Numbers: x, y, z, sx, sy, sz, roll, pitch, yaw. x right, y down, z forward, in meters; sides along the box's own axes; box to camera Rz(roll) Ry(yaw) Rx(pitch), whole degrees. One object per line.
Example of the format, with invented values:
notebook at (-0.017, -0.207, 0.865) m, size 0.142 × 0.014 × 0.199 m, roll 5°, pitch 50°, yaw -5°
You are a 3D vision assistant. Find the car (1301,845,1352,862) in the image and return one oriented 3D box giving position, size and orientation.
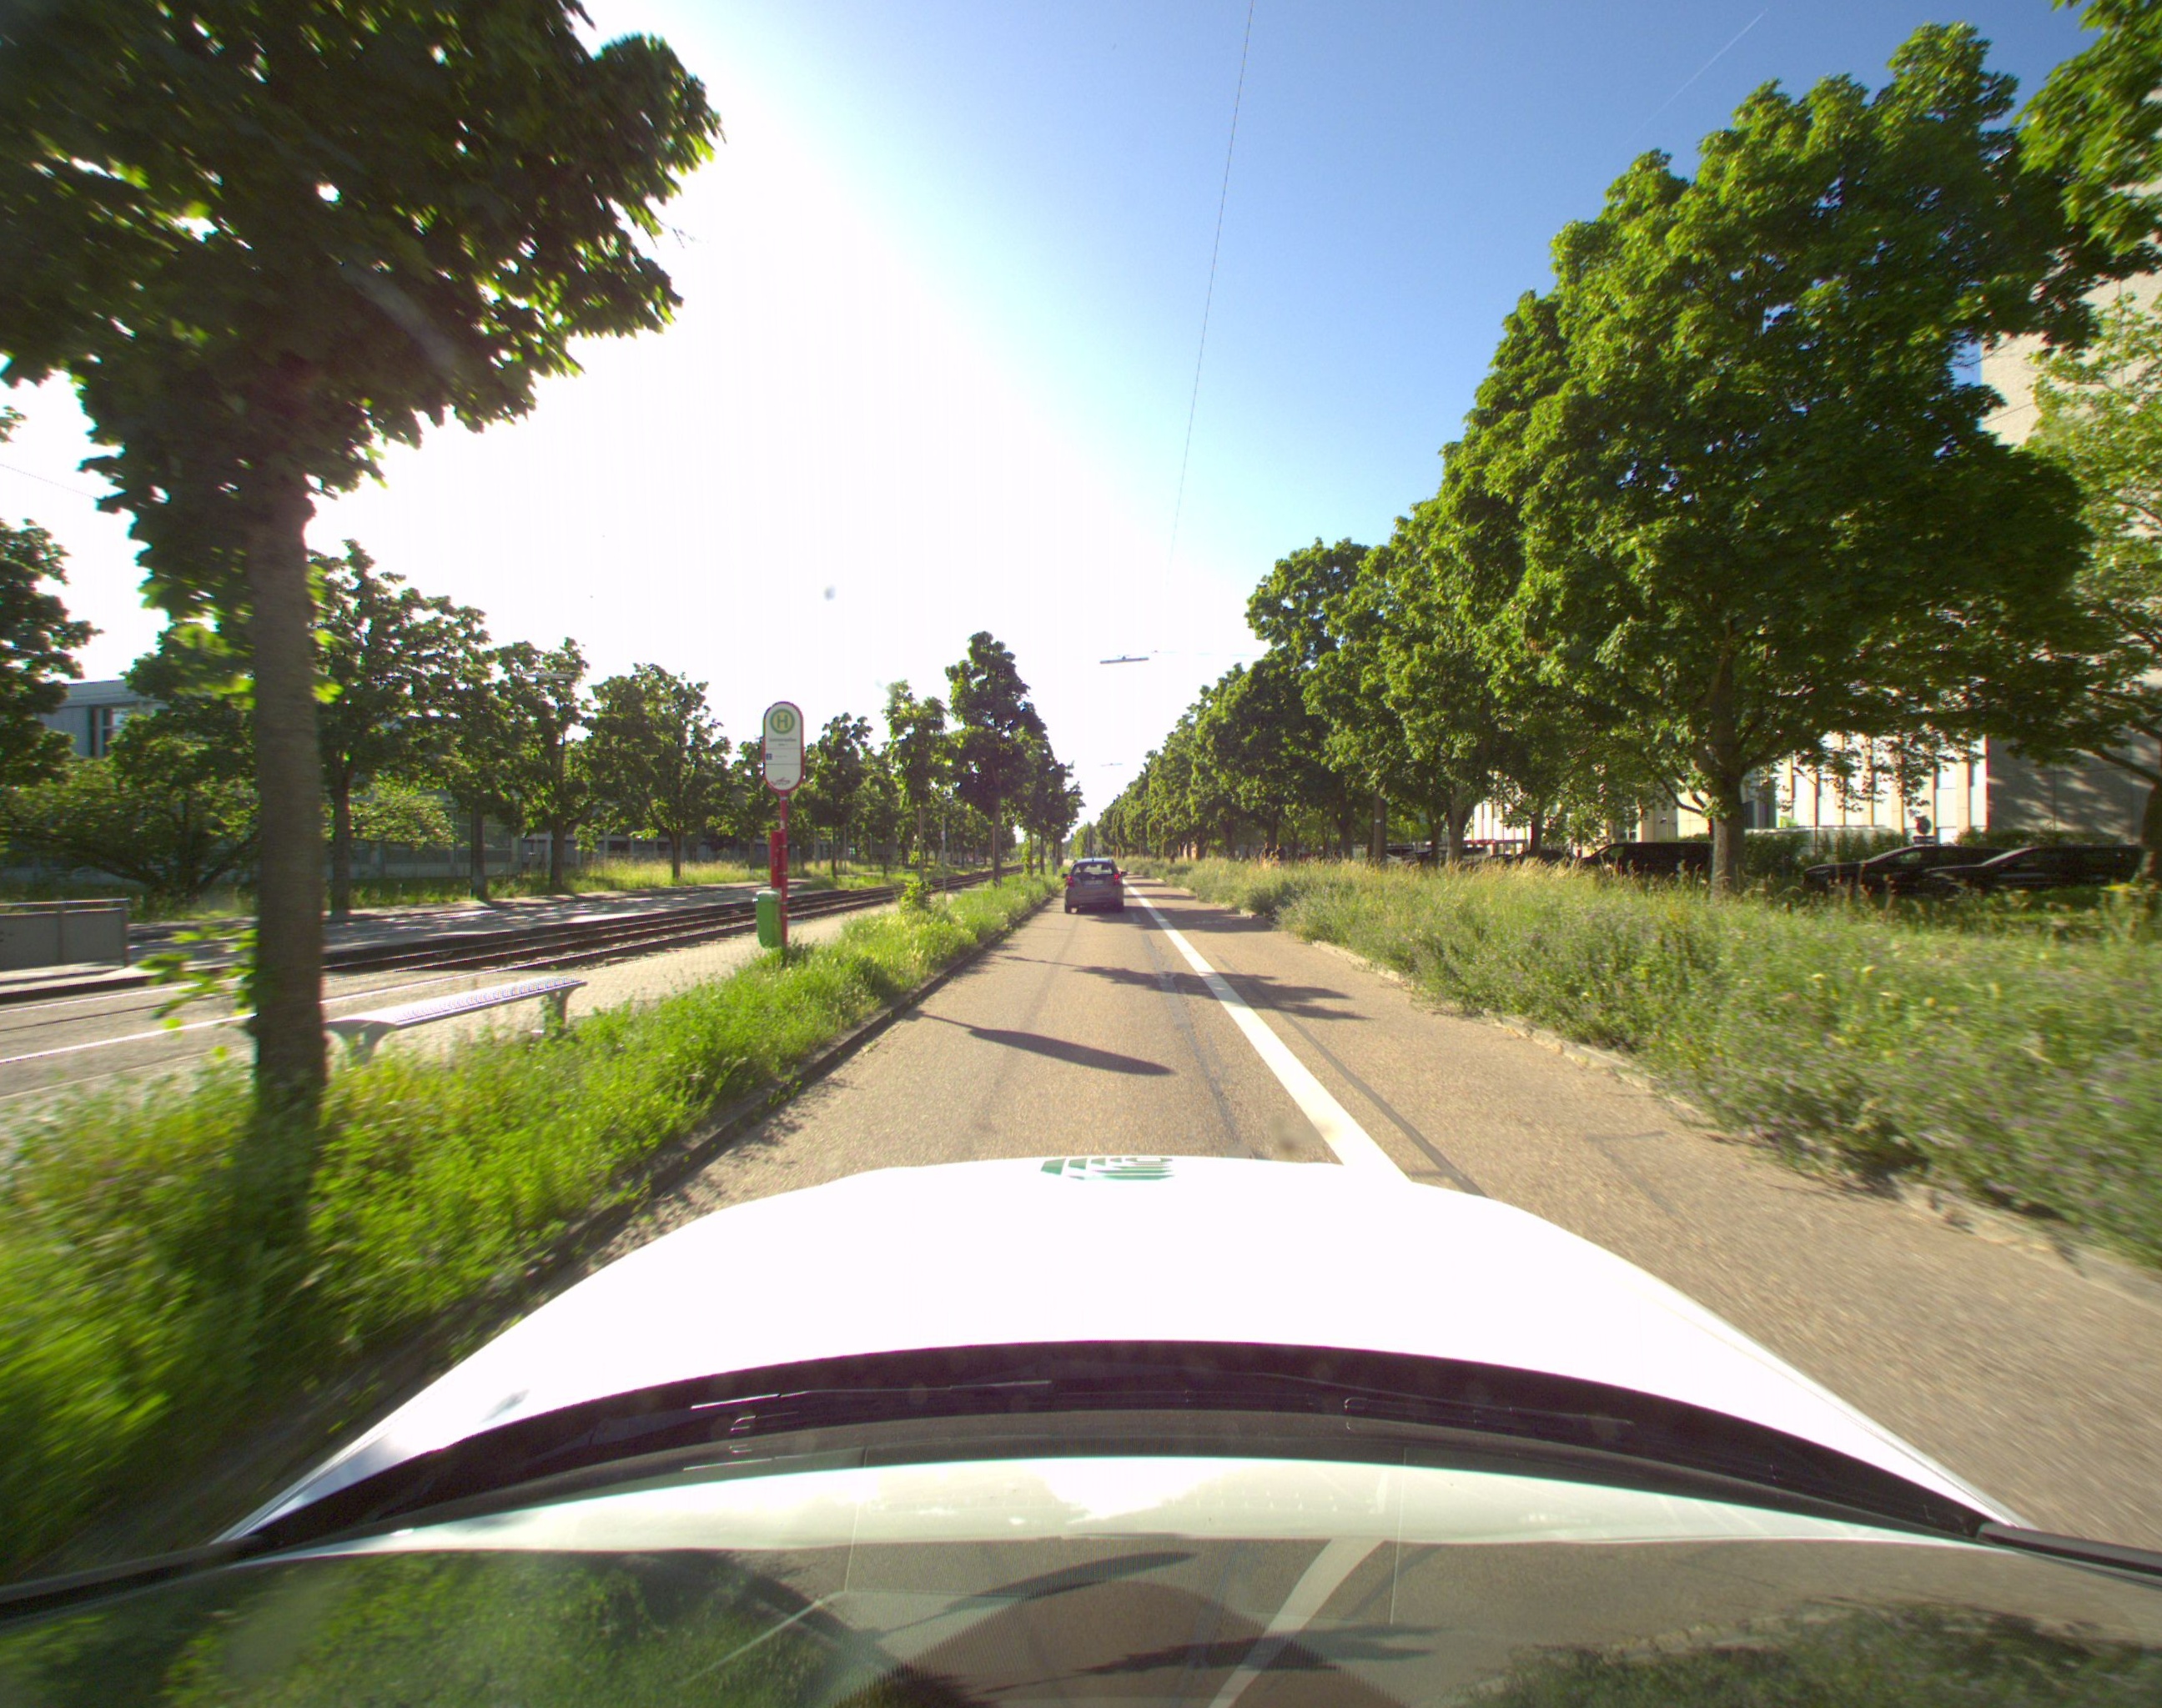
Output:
car at (23.724, -0.027, 78.773) m, size 4.382 × 1.596 × 1.881 m, roll -1°, pitch 0°, yaw -4°

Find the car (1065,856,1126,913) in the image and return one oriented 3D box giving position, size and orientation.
car at (0.365, 0.833, 23.788) m, size 1.619 × 1.499 × 3.455 m, roll -2°, pitch 0°, yaw -1°

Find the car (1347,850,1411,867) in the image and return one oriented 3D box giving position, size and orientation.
car at (24.677, 0.356, 67.474) m, size 4.686 × 1.271 × 1.806 m, roll -2°, pitch 1°, yaw -3°

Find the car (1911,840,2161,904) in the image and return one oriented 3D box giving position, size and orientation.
car at (23.901, 0.411, 20.110) m, size 4.490 × 1.448 × 1.859 m, roll -1°, pitch 0°, yaw 36°

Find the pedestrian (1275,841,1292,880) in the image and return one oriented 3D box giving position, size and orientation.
pedestrian at (10.322, 0.331, 41.551) m, size 0.705 × 1.930 × 0.817 m, roll 0°, pitch -1°, yaw 2°

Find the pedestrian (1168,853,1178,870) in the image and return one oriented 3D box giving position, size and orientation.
pedestrian at (8.743, 0.677, 77.199) m, size 0.821 × 1.569 × 0.762 m, roll 0°, pitch -1°, yaw 1°

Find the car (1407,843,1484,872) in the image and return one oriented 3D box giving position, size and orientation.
car at (23.988, 0.230, 53.626) m, size 4.334 × 1.700 × 1.760 m, roll -2°, pitch 0°, yaw -10°

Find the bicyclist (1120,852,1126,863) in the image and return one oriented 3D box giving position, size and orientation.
bicyclist at (6.902, 0.533, 133.623) m, size 0.683 × 1.720 × 0.899 m, roll -1°, pitch -1°, yaw -9°

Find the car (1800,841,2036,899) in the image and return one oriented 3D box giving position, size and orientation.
car at (23.809, 0.443, 23.459) m, size 4.490 × 1.515 × 1.859 m, roll -1°, pitch 0°, yaw 36°

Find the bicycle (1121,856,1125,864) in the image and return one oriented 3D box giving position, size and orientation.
bicycle at (6.889, 1.027, 133.474) m, size 0.482 × 1.204 × 2.140 m, roll -1°, pitch -2°, yaw -3°

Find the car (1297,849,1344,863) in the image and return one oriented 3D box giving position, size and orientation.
car at (24.657, 0.223, 83.964) m, size 4.273 × 1.324 × 1.943 m, roll -1°, pitch 1°, yaw 4°

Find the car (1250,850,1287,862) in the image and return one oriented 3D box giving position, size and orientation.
car at (23.775, 0.287, 103.391) m, size 4.338 × 1.459 × 1.690 m, roll -1°, pitch 0°, yaw 3°

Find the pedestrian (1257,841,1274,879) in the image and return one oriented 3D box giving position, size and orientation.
pedestrian at (9.431, 0.288, 41.658) m, size 0.705 × 1.918 × 0.817 m, roll 0°, pitch -1°, yaw 2°

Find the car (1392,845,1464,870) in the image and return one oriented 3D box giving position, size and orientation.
car at (23.704, 0.240, 55.705) m, size 4.230 × 1.536 × 1.760 m, roll -2°, pitch 0°, yaw -10°

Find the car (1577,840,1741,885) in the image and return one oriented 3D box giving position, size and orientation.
car at (24.447, 0.346, 34.634) m, size 1.929 × 1.752 × 5.390 m, roll 0°, pitch 0°, yaw -42°

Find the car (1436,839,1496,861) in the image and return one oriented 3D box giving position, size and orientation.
car at (36.071, -0.390, 76.426) m, size 4.735 × 1.950 × 1.974 m, roll -1°, pitch 0°, yaw -1°

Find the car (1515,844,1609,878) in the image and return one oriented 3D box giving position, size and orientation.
car at (24.717, 0.358, 41.870) m, size 3.936 × 1.639 × 1.734 m, roll -1°, pitch 0°, yaw 39°

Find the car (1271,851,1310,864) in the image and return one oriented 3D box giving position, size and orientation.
car at (24.562, 0.422, 95.434) m, size 4.148 × 1.432 × 1.826 m, roll 0°, pitch 0°, yaw 3°
